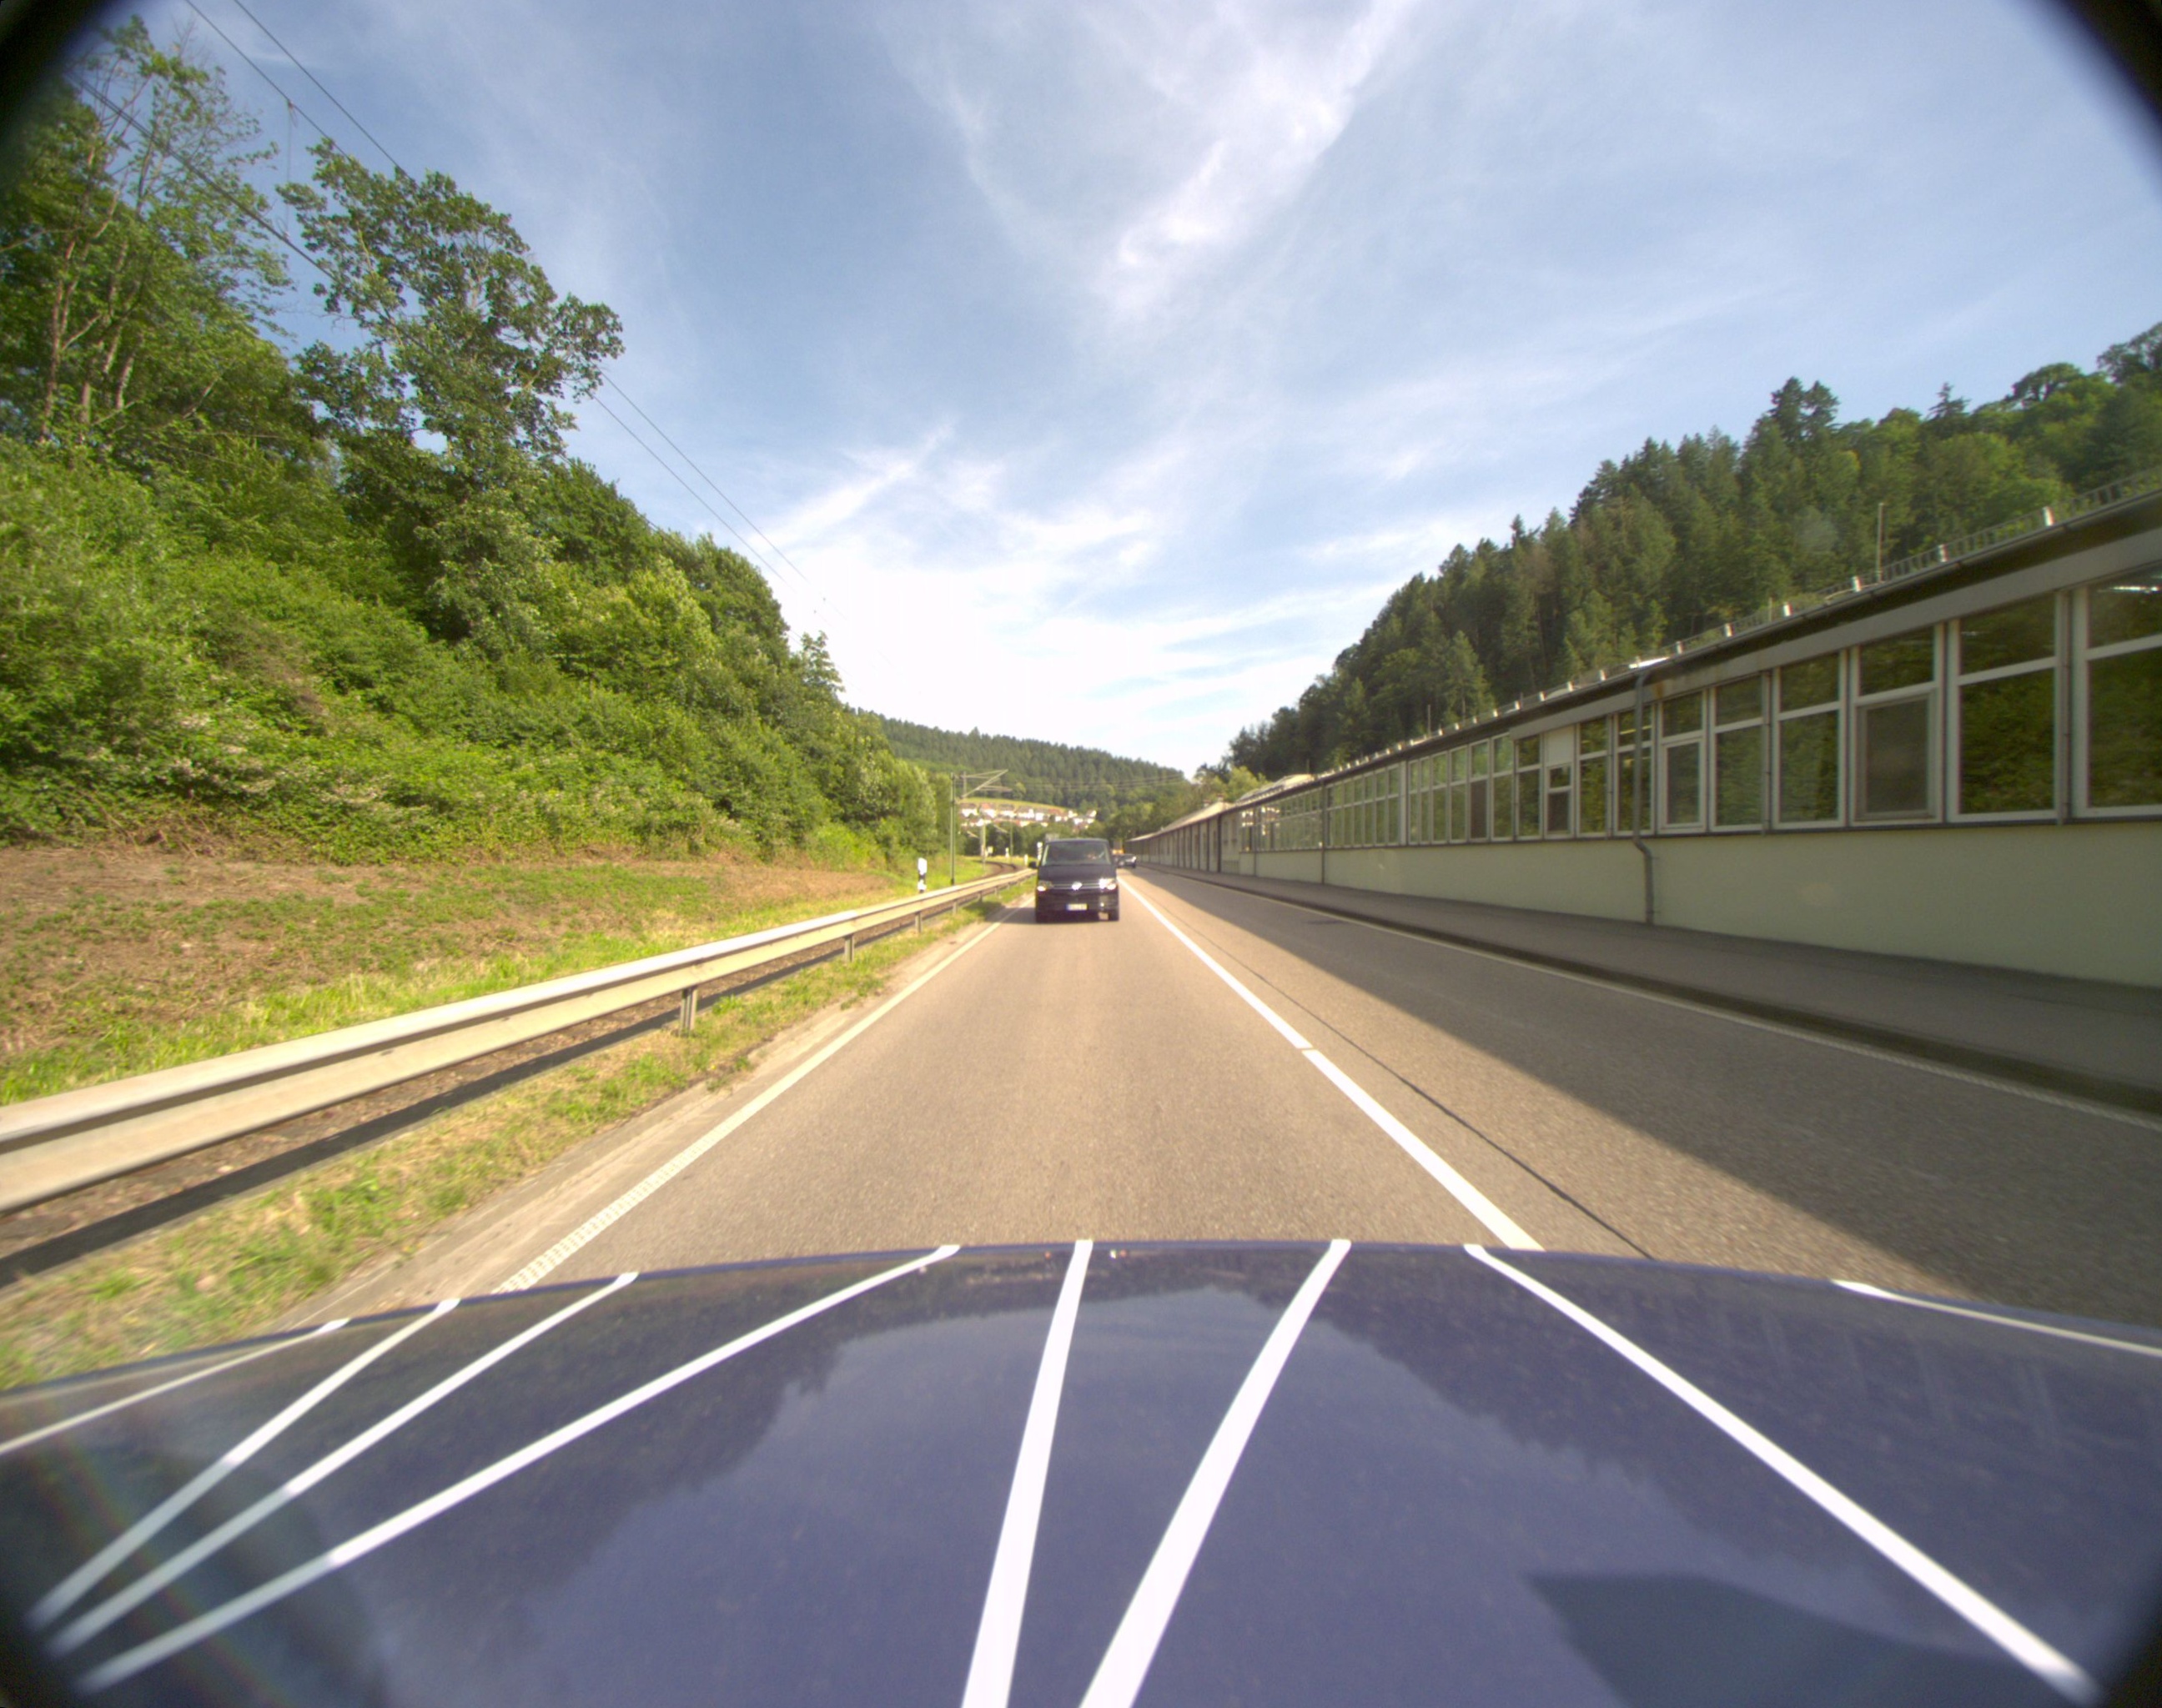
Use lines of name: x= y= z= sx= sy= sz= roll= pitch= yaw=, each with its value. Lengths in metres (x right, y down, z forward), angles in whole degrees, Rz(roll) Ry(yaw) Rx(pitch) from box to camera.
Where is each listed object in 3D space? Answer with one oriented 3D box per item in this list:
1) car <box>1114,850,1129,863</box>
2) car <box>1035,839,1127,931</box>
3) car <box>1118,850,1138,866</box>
car: x=5.023 y=0.299 z=94.879 sx=1.723 sy=1.505 sz=4.198 roll=-2 pitch=0 yaw=1
car: x=-0.099 y=0.647 z=18.765 sx=1.901 sy=1.927 sz=5.187 roll=-1 pitch=0 yaw=-2
car: x=4.792 y=0.400 z=77.270 sx=1.778 sy=1.482 sz=4.051 roll=-2 pitch=0 yaw=1
